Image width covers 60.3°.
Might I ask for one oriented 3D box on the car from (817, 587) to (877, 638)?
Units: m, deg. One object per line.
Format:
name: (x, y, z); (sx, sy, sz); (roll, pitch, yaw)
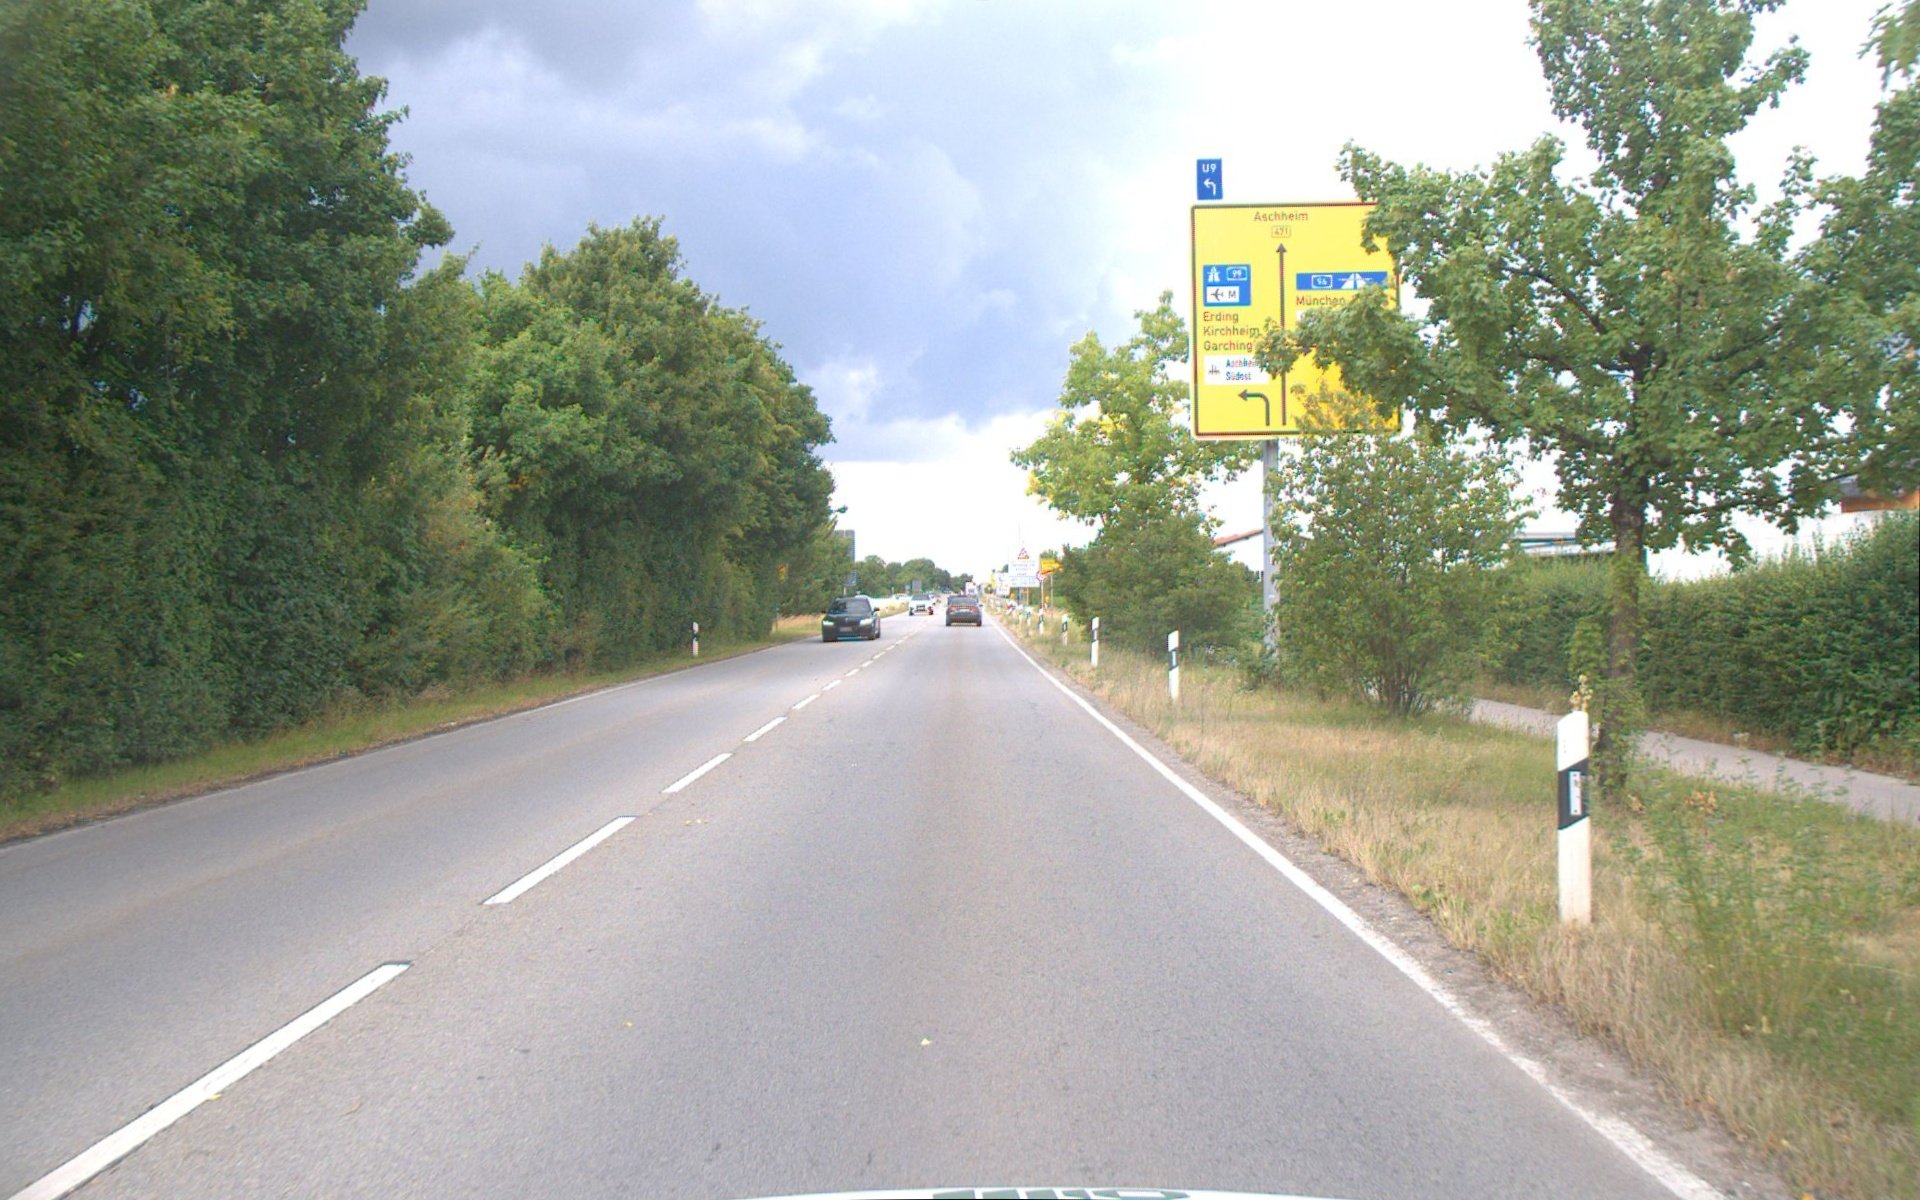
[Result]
car: (-3.943, 0.422, 58.429); (1.901, 1.613, 4.554); (-3, 0, -2)

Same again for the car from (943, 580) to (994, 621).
car: (0.400, 0.012, 83.629); (2.324, 1.913, 4.476); (-3, 0, -2)

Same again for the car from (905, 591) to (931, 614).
car: (-3.393, 0.196, 134.702); (1.953, 1.713, 4.810); (-2, 0, 0)
